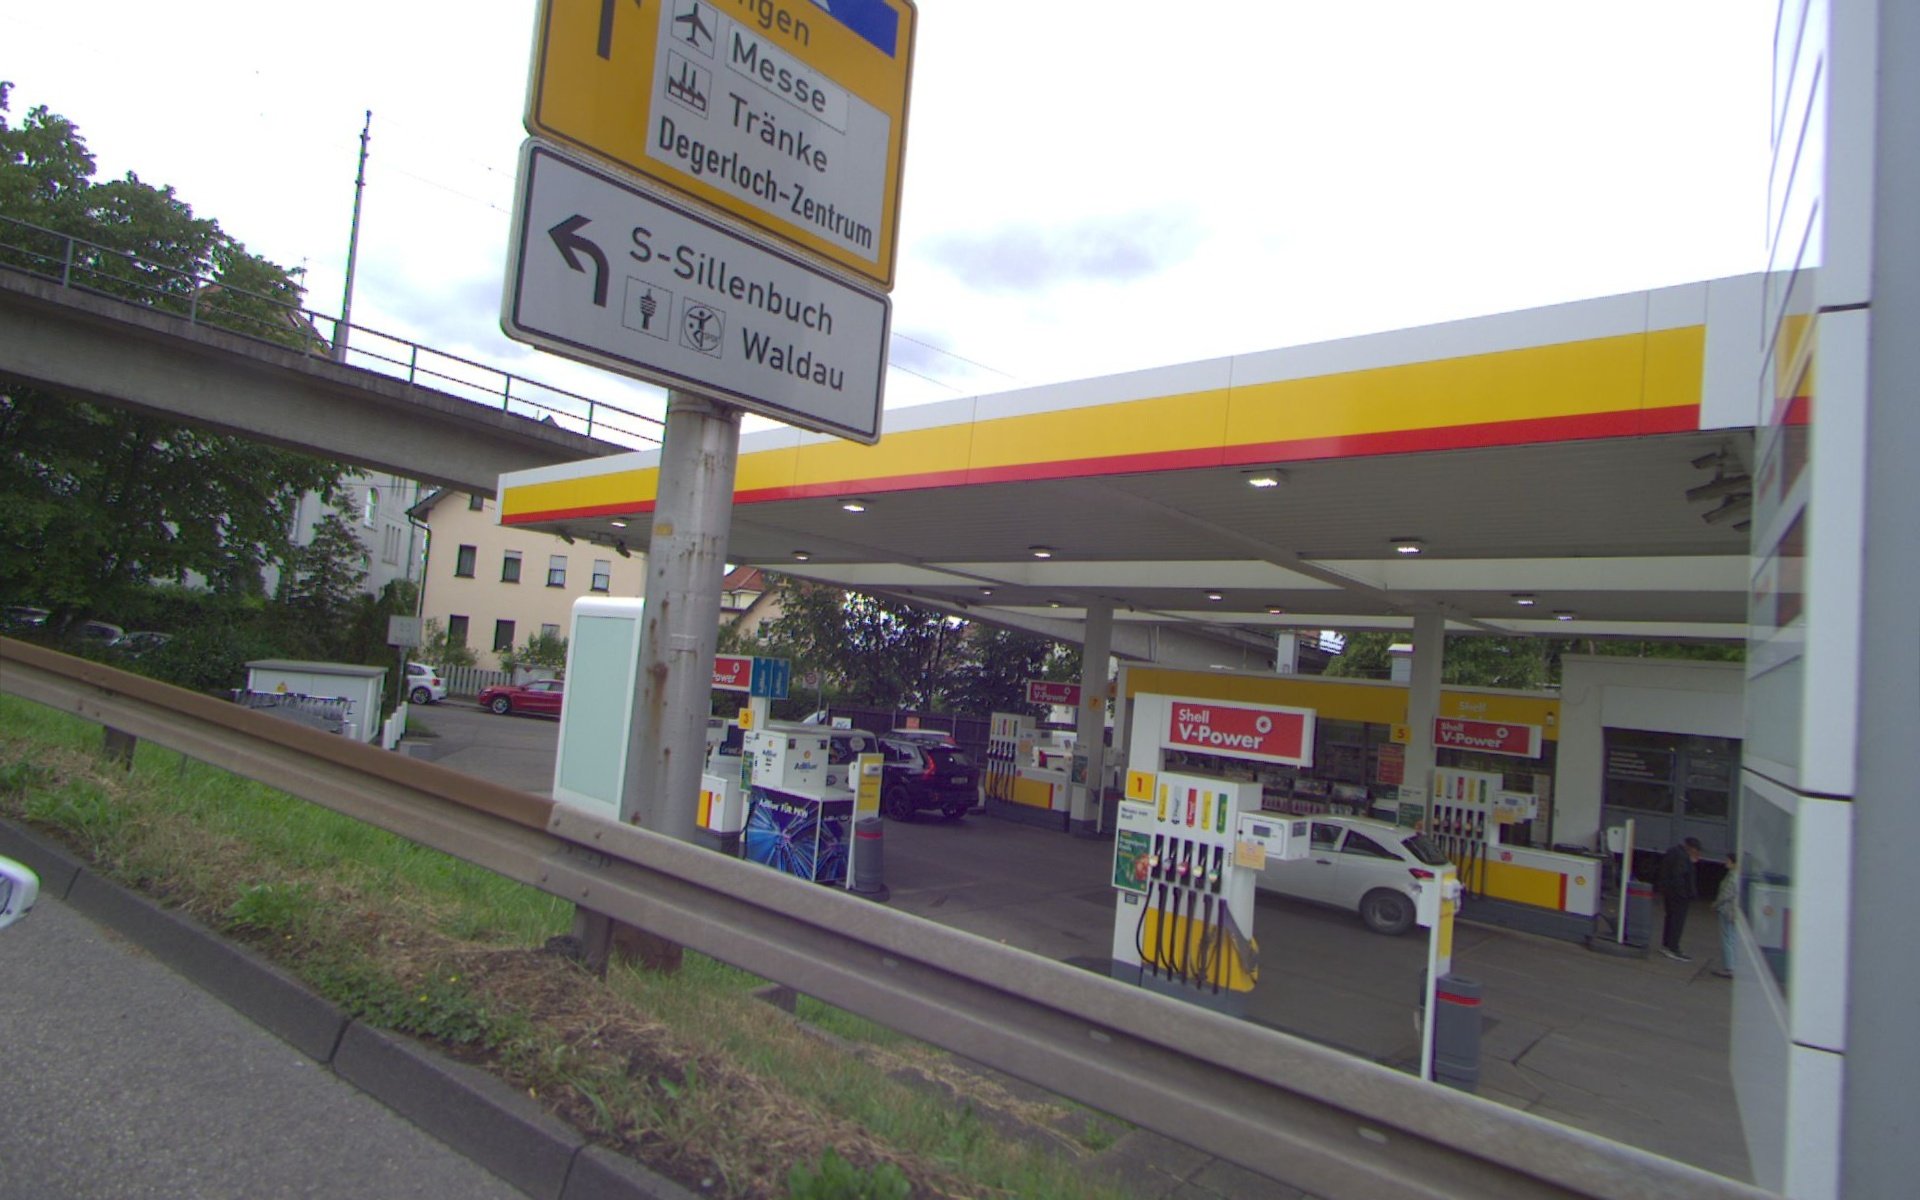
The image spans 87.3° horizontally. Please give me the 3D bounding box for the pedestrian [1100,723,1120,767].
[{"bbox_3d":[5.723,5.542,38.379,0.421,1.614,0.504,6,-2,-35],"label":"pedestrian"}]

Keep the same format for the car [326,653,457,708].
[{"bbox_3d":[-20.775,2.947,36.925,3.715,1.408,1.648,10,-5,-16],"label":"car"}]

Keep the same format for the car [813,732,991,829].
[{"bbox_3d":[-1.345,3.888,22.138,1.731,1.502,3.832,8,-4,-44],"label":"car"}]

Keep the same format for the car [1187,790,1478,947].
[{"bbox_3d":[5.704,4.040,15.706,1.731,1.502,3.832,8,-4,-44],"label":"car"}]

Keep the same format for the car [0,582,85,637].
[{"bbox_3d":[-32.255,0.158,33.675,3.971,1.462,1.622,10,-5,-16],"label":"car"}]

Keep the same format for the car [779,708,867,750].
[{"bbox_3d":[-6.018,5.722,44.466,1.580,1.361,3.581,3,-9,40],"label":"car"}]

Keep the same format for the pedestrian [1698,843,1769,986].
[{"bbox_3d":[10.594,4.286,13.785,0.601,1.724,0.542,7,-1,39],"label":"pedestrian"}]

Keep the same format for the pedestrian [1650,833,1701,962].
[{"bbox_3d":[10.423,4.314,14.661,0.425,1.724,0.492,7,-1,35],"label":"pedestrian"}]

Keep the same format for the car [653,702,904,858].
[{"bbox_3d":[-3.358,3.082,18.068,4.648,2.033,1.734,2,-4,40],"label":"car"}]

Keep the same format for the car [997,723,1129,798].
[{"bbox_3d":[3.160,4.832,30.407,3.851,1.960,1.722,8,-4,-41],"label":"car"}]

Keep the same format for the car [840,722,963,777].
[{"bbox_3d":[-1.912,4.896,32.937,3.586,1.474,1.648,7,-3,-29],"label":"car"}]

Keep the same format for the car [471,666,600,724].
[{"bbox_3d":[-16.094,3.628,38.378,4.246,1.536,1.620,11,-5,-19],"label":"car"}]
